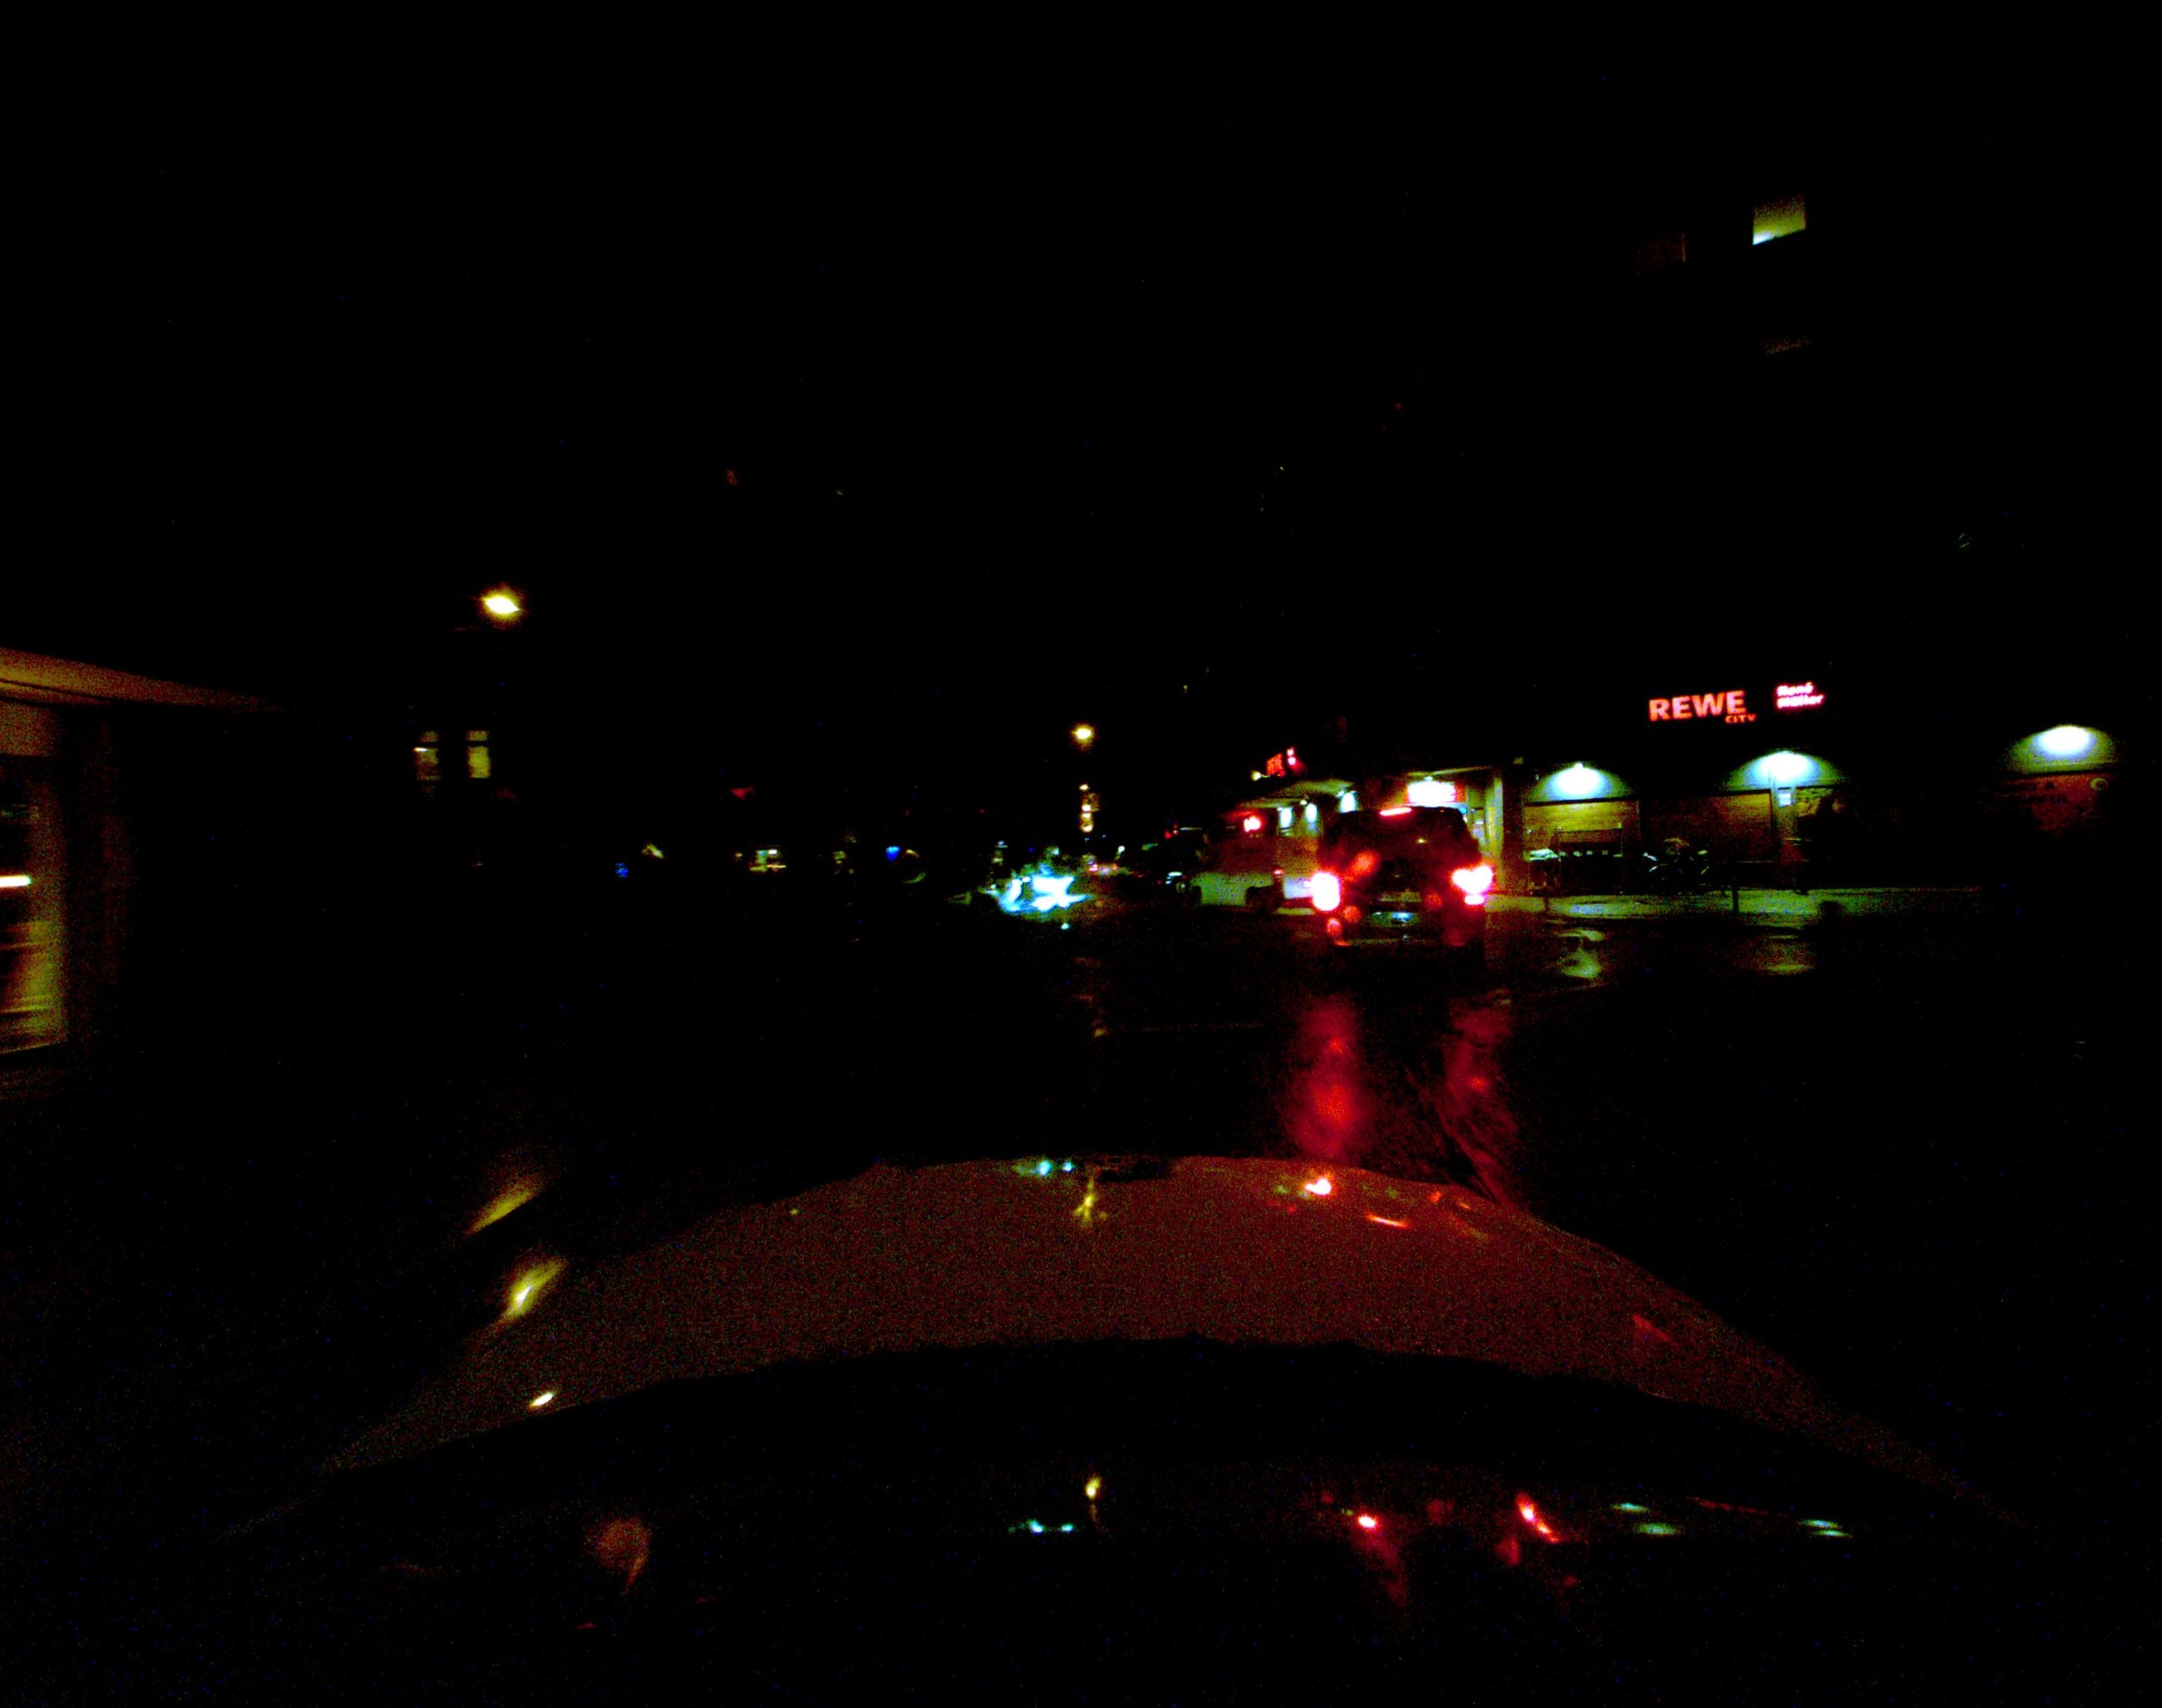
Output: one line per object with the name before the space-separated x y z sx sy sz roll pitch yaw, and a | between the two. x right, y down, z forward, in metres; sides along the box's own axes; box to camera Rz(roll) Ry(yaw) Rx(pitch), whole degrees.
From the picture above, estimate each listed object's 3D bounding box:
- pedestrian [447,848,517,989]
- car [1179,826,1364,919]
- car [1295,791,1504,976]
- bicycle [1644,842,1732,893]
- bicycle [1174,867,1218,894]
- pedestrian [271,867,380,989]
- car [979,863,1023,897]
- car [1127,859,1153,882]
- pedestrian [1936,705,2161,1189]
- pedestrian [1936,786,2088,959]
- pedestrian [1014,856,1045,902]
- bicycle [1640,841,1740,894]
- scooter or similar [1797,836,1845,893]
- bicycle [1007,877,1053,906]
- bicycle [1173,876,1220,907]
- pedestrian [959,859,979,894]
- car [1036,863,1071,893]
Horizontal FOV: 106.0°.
pedestrian | -8.524 0.889 11.595 0.620 1.909 0.658 -3 0 44
car | 4.366 0.410 19.601 2.128 1.922 4.796 -1 0 -18
car | 4.182 0.350 11.260 2.106 1.991 4.621 -2 -1 17
bicycle | 14.484 0.326 19.465 1.626 1.174 0.386 -1 -3 28
bicycle | 4.832 1.107 34.170 1.757 1.079 0.435 -2 0 -2
pedestrian | -12.309 1.178 13.293 0.791 1.858 0.950 -4 -1 13
car | -3.699 1.179 38.030 1.581 1.463 4.024 1 0 1
car | 4.010 1.137 55.647 1.586 1.543 3.420 -1 -2 1
pedestrian | 4.168 0.338 3.245 0.820 1.771 0.602 -1 -1 12
pedestrian | 10.553 0.203 9.286 0.867 1.833 0.990 -3 -1 36
pedestrian | -2.086 1.008 33.162 1.118 1.811 0.714 -2 0 -1
bicycle | 13.951 0.315 18.696 1.764 1.174 0.386 -2 -1 28
scooter or similar | 16.554 0.218 18.239 0.520 1.229 1.321 -1 0 30
bicycle | -2.074 1.510 33.163 1.791 1.059 0.714 -2 0 -2
bicycle | 4.705 1.525 33.241 1.778 1.125 0.435 -3 0 -2
pedestrian | -5.744 1.138 41.812 0.799 1.766 1.017 0 -1 6
car | -1.420 1.238 43.833 1.557 1.427 4.070 -3 0 2
